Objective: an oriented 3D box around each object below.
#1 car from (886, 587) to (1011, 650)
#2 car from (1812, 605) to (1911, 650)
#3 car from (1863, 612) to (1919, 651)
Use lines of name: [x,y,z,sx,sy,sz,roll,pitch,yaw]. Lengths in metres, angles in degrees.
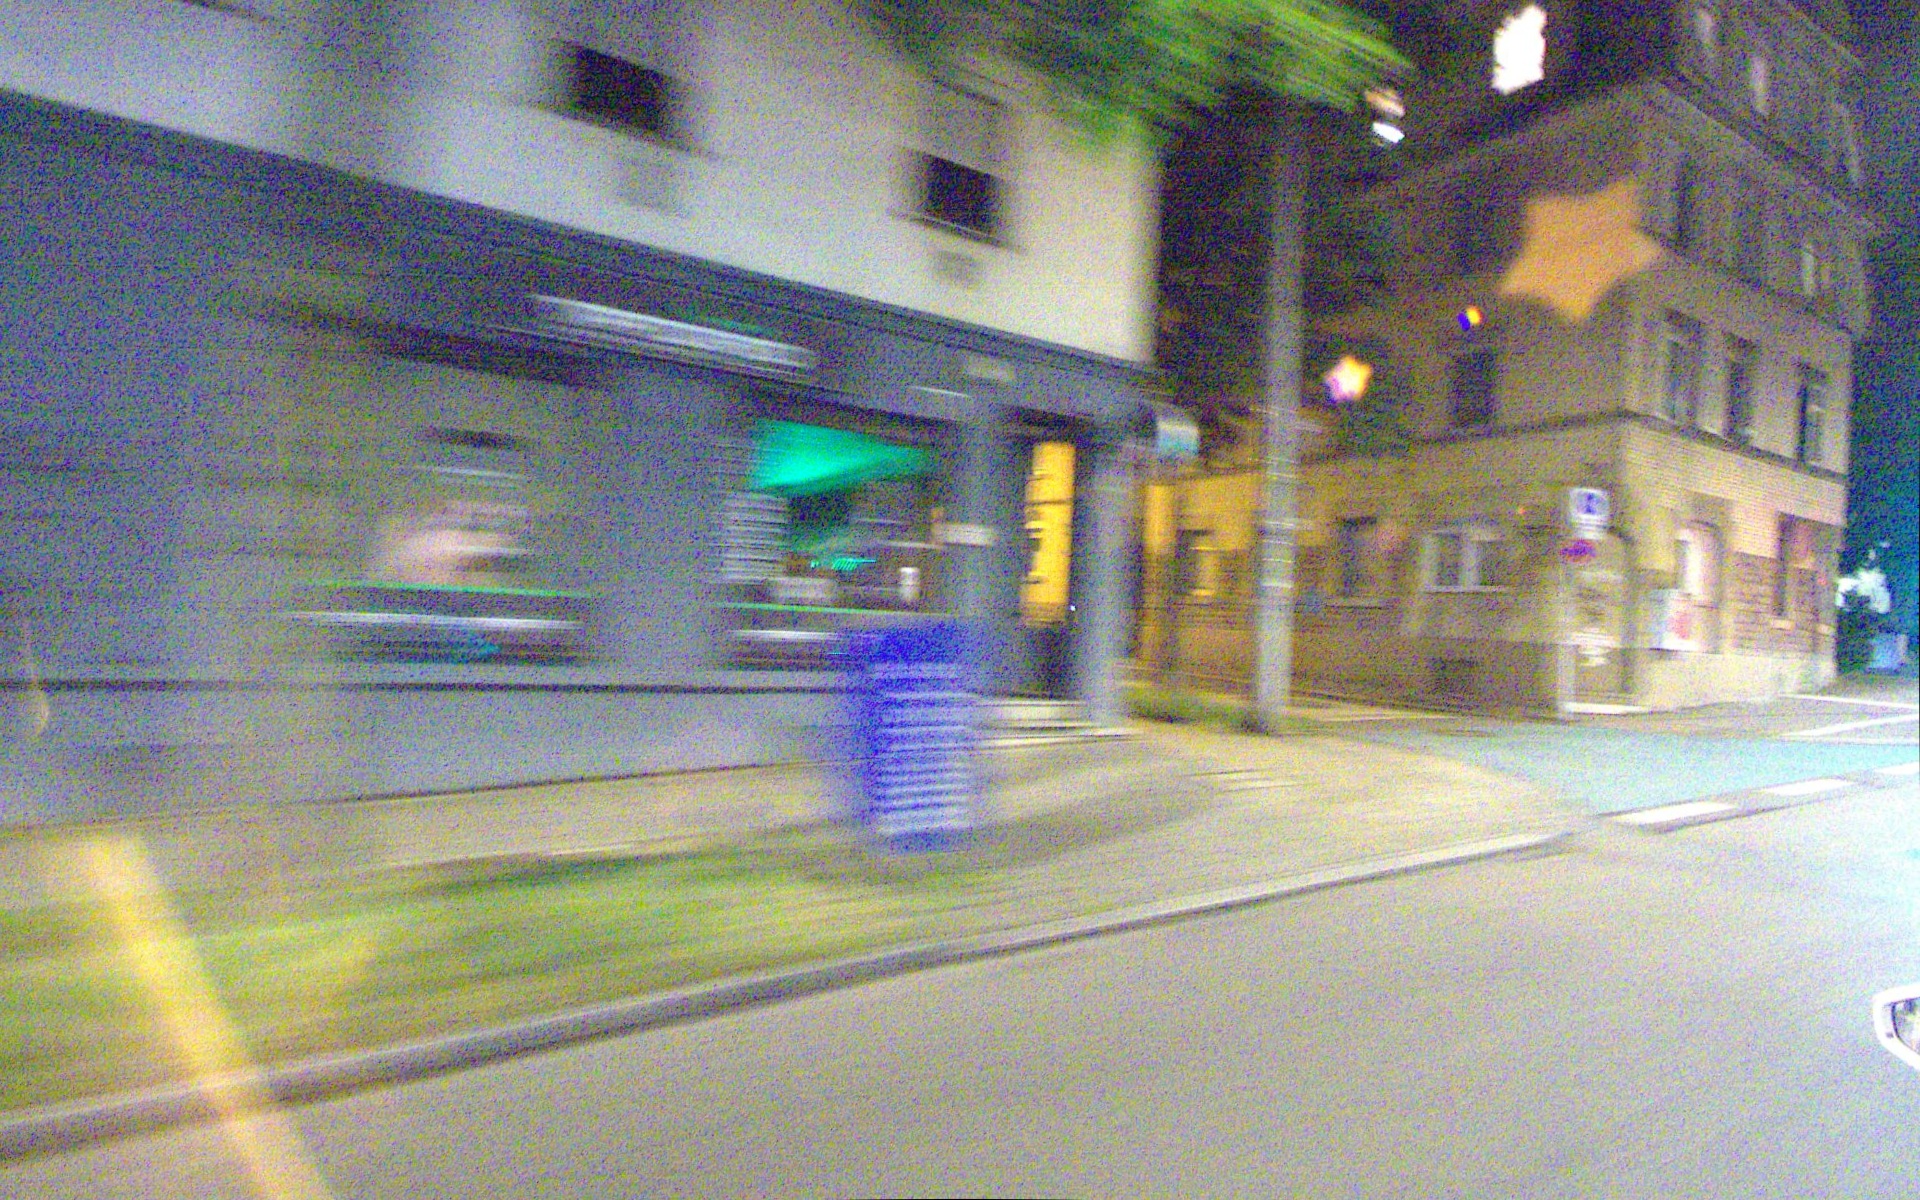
car: [-0.425,0.518,30.098,1.907,1.562,3.966,6,-1,-31]
car: [34.864,1.079,38.820,4.142,1.558,1.746,2,3,-33]
car: [39.316,1.358,40.457,1.736,1.444,3.978,2,2,-22]
